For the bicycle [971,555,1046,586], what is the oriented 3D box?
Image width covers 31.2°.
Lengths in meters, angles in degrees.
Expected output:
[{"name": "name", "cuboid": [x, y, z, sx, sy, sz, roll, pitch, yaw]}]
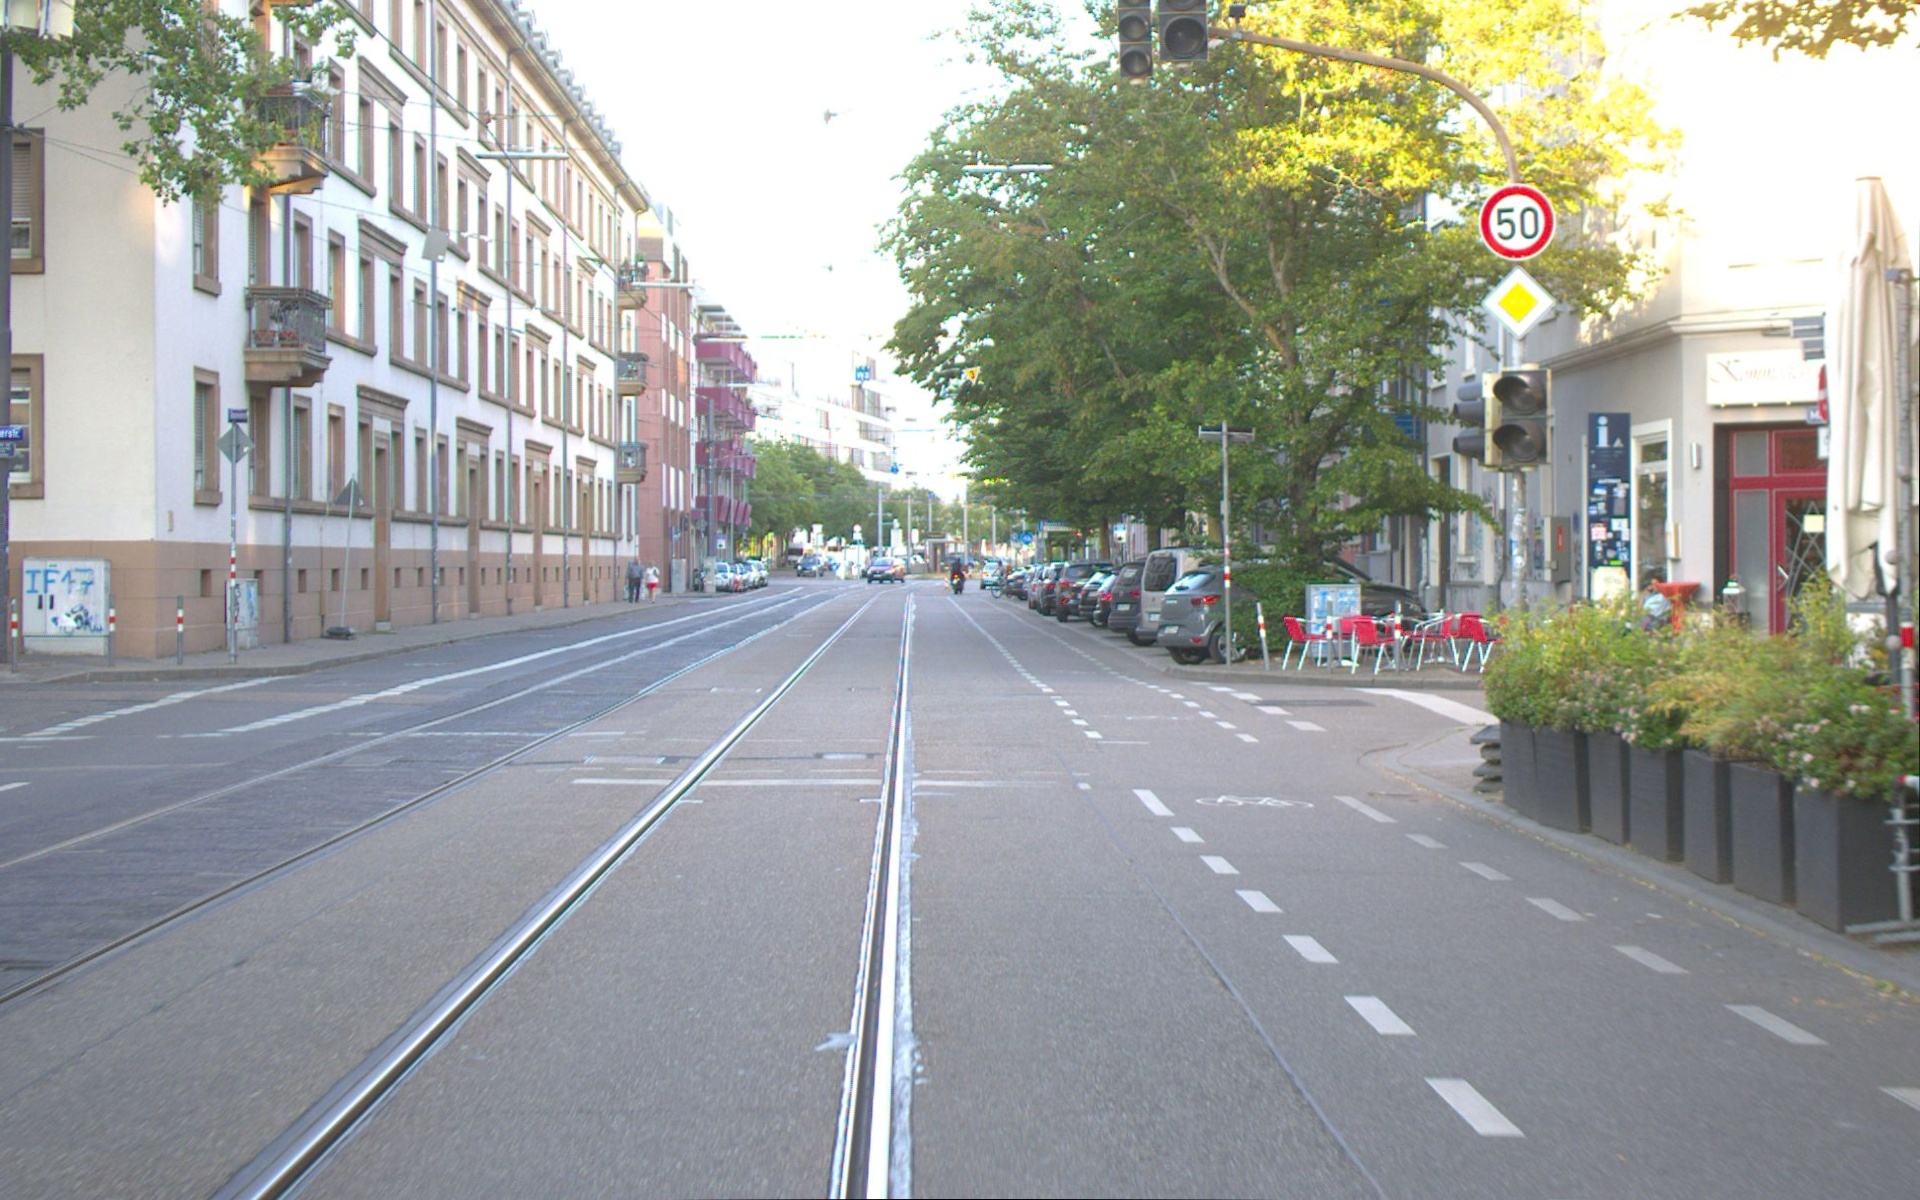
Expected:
[{"name": "bicycle", "cuboid": [2.142, -1.305, 151.503, 3.170, 1.349, 0.958, 0, 0, -9]}]

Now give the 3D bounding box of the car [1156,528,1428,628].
[{"name": "car", "cuboid": [5.324, -0.352, 55.169, 3.986, 1.561, 1.720, 0, 1, -22]}]

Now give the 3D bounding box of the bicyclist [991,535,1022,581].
[{"name": "bicyclist", "cuboid": [2.049, -1.868, 151.479, 1.214, 2.007, 0.947, -2, 1, -8]}]

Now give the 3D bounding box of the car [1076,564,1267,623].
[{"name": "car", "cuboid": [5.008, -0.166, 81.338, 4.248, 1.383, 1.621, 0, 1, -26]}]

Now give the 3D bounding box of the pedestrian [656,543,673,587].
[{"name": "pedestrian", "cuboid": [-10.691, -1.274, 124.389, 0.590, 1.604, 0.811, 0, 0, -3]}]

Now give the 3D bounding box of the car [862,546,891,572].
[{"name": "car", "cuboid": [-5.139, -2.552, 211.456, 1.559, 1.553, 3.755, -1, 1, 2]}]

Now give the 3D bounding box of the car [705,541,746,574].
[{"name": "car", "cuboid": [-11.423, -2.059, 167.624, 1.717, 1.550, 4.204, 1, 0, 0]}]

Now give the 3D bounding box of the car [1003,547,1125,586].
[{"name": "car", "cuboid": [4.204, -1.344, 138.501, 4.443, 1.511, 2.064, -1, 1, -23]}]

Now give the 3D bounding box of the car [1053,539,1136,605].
[{"name": "car", "cuboid": [3.529, -0.740, 90.743, 1.879, 1.612, 4.262, -2, 1, -1]}]

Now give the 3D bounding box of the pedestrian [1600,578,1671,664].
[{"name": "pedestrian", "cuboid": [9.147, 0.283, 46.576, 0.649, 1.151, 0.691, 0, 1, -24]}]

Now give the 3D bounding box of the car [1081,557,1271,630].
[{"name": "car", "cuboid": [4.921, -0.156, 78.495, 3.960, 1.548, 1.720, -1, 2, -18]}]

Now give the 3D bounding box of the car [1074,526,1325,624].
[{"name": "car", "cuboid": [4.393, -0.469, 62.973, 4.178, 1.690, 1.847, -1, 1, -22]}]

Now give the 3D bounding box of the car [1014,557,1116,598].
[{"name": "car", "cuboid": [4.077, -0.863, 133.400, 3.554, 1.511, 1.744, -1, 1, -26]}]

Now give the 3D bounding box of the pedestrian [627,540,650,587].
[{"name": "pedestrian", "cuboid": [-11.620, -1.331, 124.325, 0.795, 1.696, 0.981, 0, 0, -3]}]

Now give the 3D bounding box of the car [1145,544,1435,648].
[{"name": "car", "cuboid": [4.997, -0.074, 52.085, 3.986, 1.535, 1.780, 0, 1, -20]}]

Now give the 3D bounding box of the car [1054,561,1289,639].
[{"name": "car", "cuboid": [4.261, -0.009, 69.352, 4.376, 1.459, 1.720, -1, 1, -18]}]

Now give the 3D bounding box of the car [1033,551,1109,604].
[{"name": "car", "cuboid": [3.184, -0.651, 99.728, 1.993, 1.484, 5.036, -1, 0, 0]}]

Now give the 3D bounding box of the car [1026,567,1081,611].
[{"name": "car", "cuboid": [3.072, -0.386, 113.645, 1.619, 1.376, 3.776, -2, 0, -1]}]

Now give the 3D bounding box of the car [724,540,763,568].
[{"name": "car", "cuboid": [-11.789, -2.492, 187.408, 1.691, 1.409, 4.677, 2, 0, 2]}]

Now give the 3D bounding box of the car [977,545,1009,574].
[{"name": "car", "cuboid": [1.790, -2.222, 187.892, 1.717, 1.550, 4.204, 1, 1, 1]}]

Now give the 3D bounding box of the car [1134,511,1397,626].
[{"name": "car", "cuboid": [5.141, -0.546, 57.899, 3.986, 1.809, 1.825, -2, 1, -22]}]
